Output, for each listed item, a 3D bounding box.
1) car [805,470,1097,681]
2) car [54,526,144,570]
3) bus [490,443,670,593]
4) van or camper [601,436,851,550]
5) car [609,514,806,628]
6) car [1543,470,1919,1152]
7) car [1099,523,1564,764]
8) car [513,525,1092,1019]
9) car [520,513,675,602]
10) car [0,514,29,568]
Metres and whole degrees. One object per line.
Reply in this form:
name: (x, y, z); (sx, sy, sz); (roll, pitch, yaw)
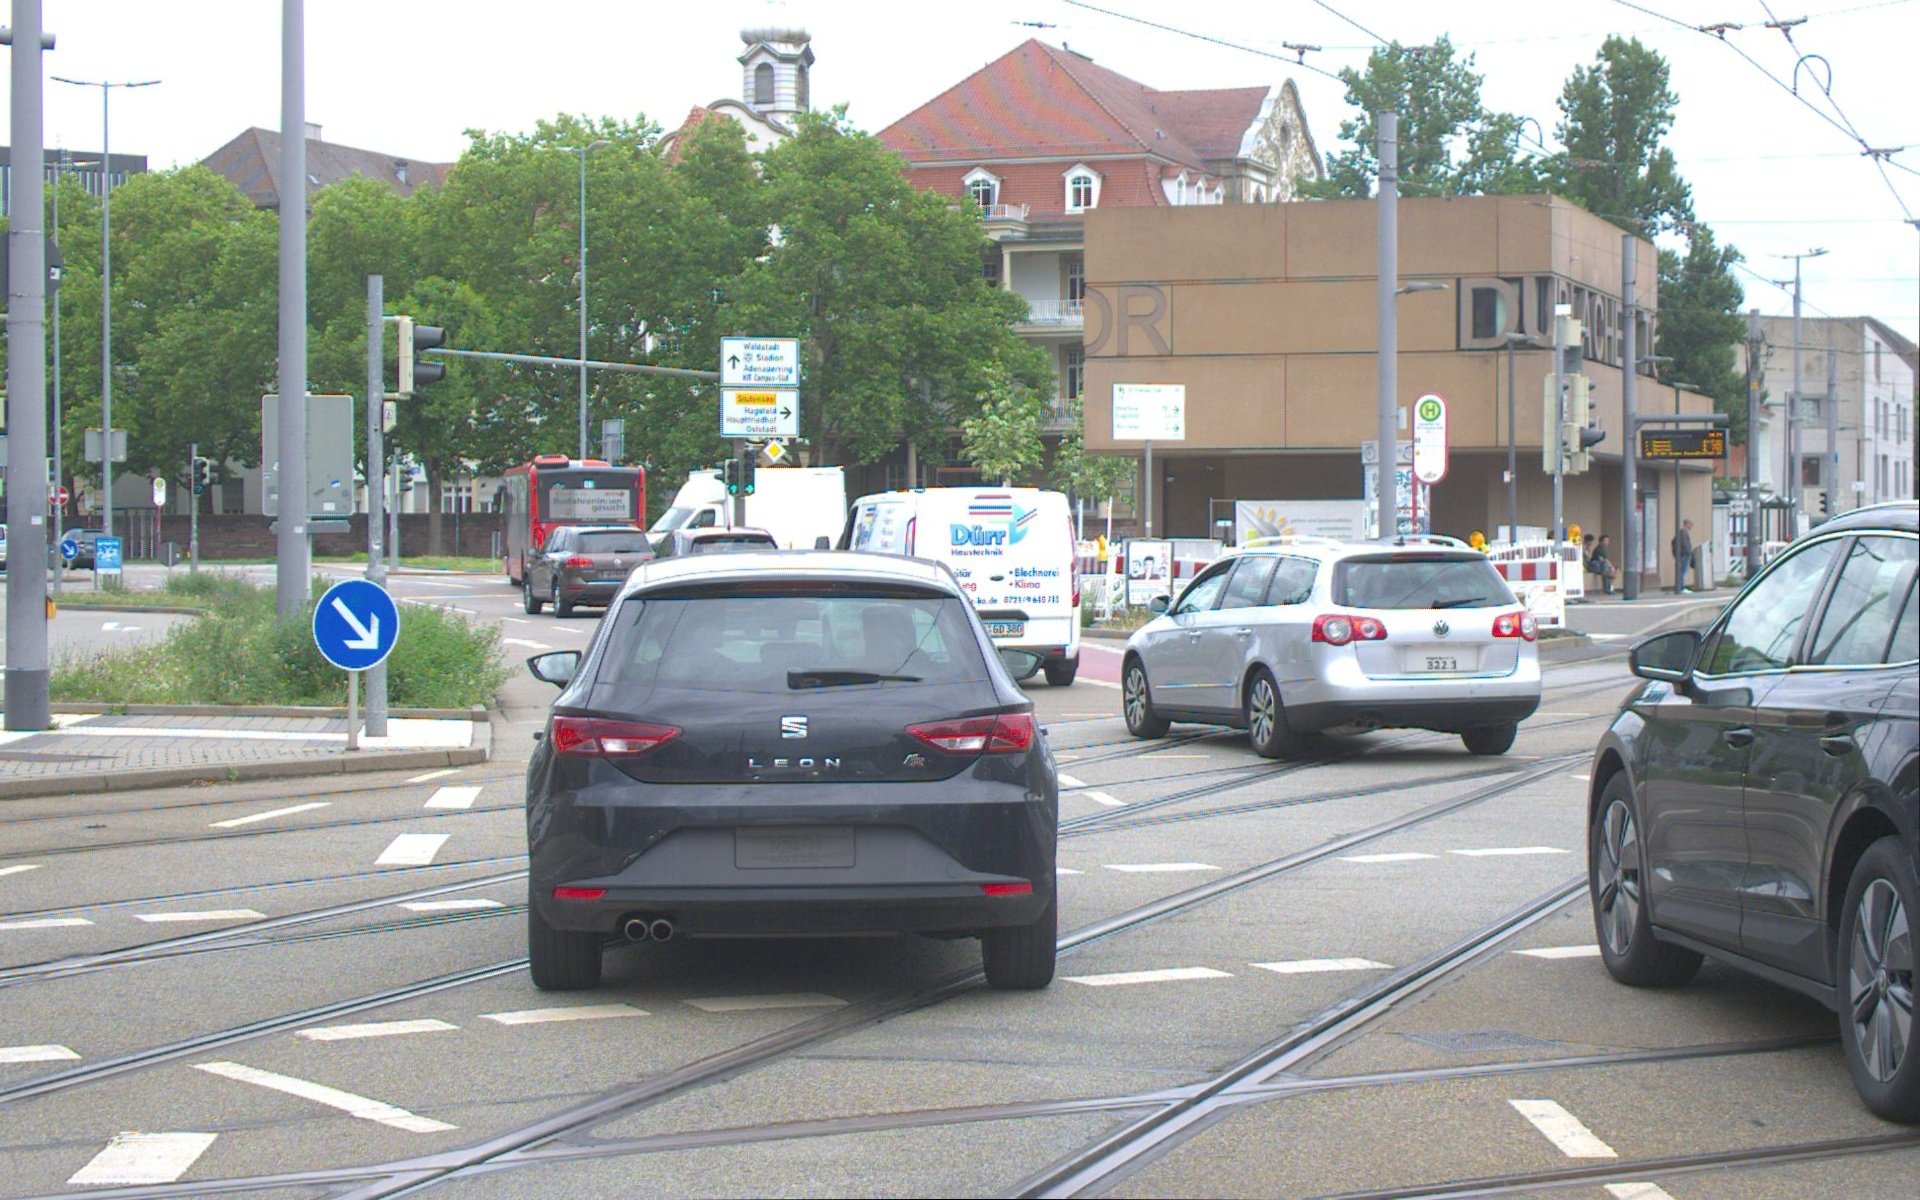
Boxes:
car: (-0.189, -0.304, 35.518); (1.993, 2.012, 5.033); (0, 2, -12)
car: (-30.559, -1.855, 121.945); (1.993, 1.533, 4.000); (-1, 1, -31)
bus: (-9.184, -1.935, 81.679); (3.057, 3.286, 12.383); (0, 1, -12)
van or camper: (-7.136, -3.242, 105.150); (7.130, 3.320, 2.876); (-1, 0, -35)
car: (-3.759, -0.463, 50.446); (1.857, 1.594, 4.206); (0, 2, -19)
car: (3.174, 0.467, 10.058); (1.903, 1.652, 4.515); (0, 2, -4)
car: (2.489, 0.223, 24.268); (1.720, 1.477, 4.630); (-1, 2, -15)
car: (-0.685, 0.489, 12.480); (1.745, 1.459, 4.001); (1, 2, -6)
car: (-6.718, -0.809, 63.343); (1.993, 1.560, 4.206); (0, 2, -18)
car: (-37.101, -2.250, 130.998); (1.994, 2.007, 4.000); (-1, 1, -33)
